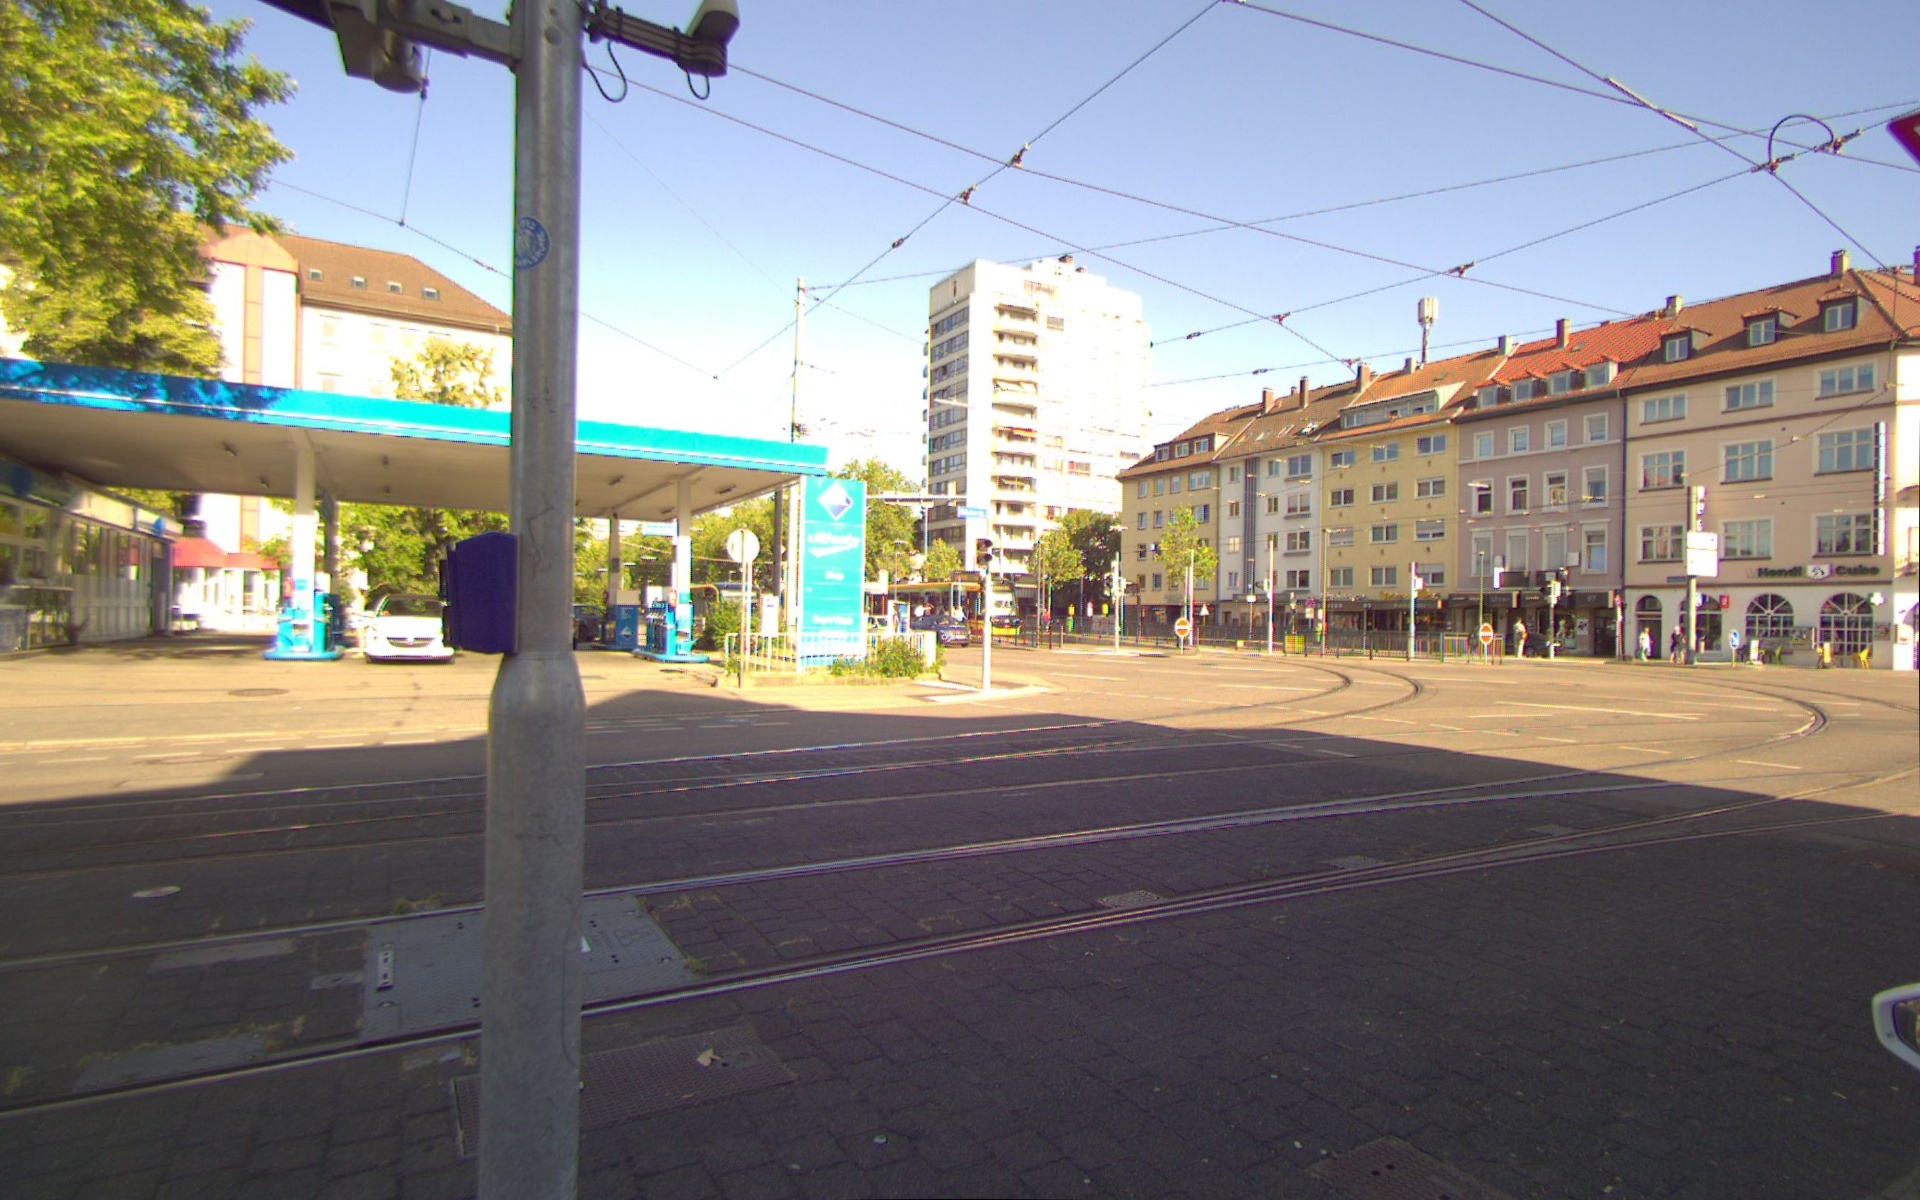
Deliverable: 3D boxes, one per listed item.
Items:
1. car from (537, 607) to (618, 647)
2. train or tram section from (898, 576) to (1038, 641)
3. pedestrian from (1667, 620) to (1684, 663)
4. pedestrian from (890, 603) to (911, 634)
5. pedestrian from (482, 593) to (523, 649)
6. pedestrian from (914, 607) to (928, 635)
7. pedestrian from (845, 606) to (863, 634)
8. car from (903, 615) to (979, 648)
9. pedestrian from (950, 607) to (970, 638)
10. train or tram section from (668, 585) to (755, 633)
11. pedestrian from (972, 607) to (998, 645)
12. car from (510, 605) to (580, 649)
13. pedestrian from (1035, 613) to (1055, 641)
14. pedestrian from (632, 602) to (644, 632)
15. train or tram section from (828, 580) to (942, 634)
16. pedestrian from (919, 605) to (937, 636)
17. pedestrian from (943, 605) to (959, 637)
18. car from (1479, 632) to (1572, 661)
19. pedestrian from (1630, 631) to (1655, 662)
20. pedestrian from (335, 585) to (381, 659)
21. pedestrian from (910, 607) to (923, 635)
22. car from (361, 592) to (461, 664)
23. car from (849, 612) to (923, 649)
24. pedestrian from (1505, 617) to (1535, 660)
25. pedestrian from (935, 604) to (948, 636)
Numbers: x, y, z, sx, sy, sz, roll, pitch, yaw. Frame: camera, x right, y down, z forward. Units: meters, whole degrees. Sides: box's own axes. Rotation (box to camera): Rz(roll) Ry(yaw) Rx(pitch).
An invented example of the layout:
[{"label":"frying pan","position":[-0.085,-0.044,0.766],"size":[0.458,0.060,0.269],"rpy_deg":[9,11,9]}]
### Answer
[{"label":"car","position":[-17.202,1.213,45.383],"size":[1.960,1.685,4.001],"rpy_deg":[1,-1,2]},{"label":"train or tram section","position":[0.231,0.517,58.964],"size":[3.252,3.459,10.157],"rpy_deg":[1,-1,-33]},{"label":"pedestrian","position":[34.212,1.981,48.022],"size":[0.498,2.040,0.507],"rpy_deg":[1,-1,-27]},{"label":"pedestrian","position":[-3.528,1.092,59.526],"size":[0.902,1.826,0.887],"rpy_deg":[1,-1,-33]},{"label":"pedestrian","position":[-15.364,0.696,33.738],"size":[0.896,1.826,0.893],"rpy_deg":[0,-1,34]},{"label":"pedestrian","position":[-2.288,1.223,59.299],"size":[0.507,1.646,0.666],"rpy_deg":[0,-1,33]},{"label":"pedestrian","position":[-6.909,1.312,65.512],"size":[0.902,1.826,0.887],"rpy_deg":[1,-1,-33]},{"label":"car","position":[-0.957,1.492,48.349],"size":[1.937,1.475,4.077],"rpy_deg":[1,0,-30]},{"label":"pedestrian","position":[-0.014,1.200,53.189],"size":[0.791,1.646,0.706],"rpy_deg":[1,-1,-33]},{"label":"train or tram section","position":[-15.030,0.452,60.039],"size":[2.233,2.627,10.398],"rpy_deg":[2,0,-30]},{"label":"pedestrian","position":[1.196,1.256,48.468],"size":[0.902,1.826,0.887],"rpy_deg":[1,-1,-33]},{"label":"car","position":[-13.500,0.865,32.578],"size":[1.752,1.332,3.520],"rpy_deg":[1,-1,-28]},{"label":"pedestrian","position":[6.209,1.942,73.076],"size":[0.942,2.040,1.214],"rpy_deg":[1,-1,-25]},{"label":"pedestrian","position":[-22.135,1.135,68.994],"size":[0.675,2.040,0.856],"rpy_deg":[1,-1,-14]},{"label":"train or tram section","position":[-5.250,0.521,67.582],"size":[3.252,3.335,10.157],"rpy_deg":[1,-1,-33]},{"label":"pedestrian","position":[-1.797,1.161,56.225],"size":[0.773,1.721,0.692],"rpy_deg":[1,-1,-33]},{"label":"pedestrian","position":[-0.490,1.117,54.518],"size":[0.549,1.721,0.740],"rpy_deg":[1,-1,-33]},{"label":"car","position":[30.776,2.494,54.716],"size":[1.980,1.483,3.962],"rpy_deg":[1,-1,-34]},{"label":"pedestrian","position":[35.338,2.395,51.994],"size":[0.849,1.547,0.786],"rpy_deg":[1,-1,-29]},{"label":"pedestrian","position":[-13.838,0.507,23.122],"size":[0.801,1.652,0.643],"rpy_deg":[1,-1,-24]},{"label":"pedestrian","position":[-2.566,1.216,59.545],"size":[0.500,1.646,0.605],"rpy_deg":[0,-1,35]},{"label":"car","position":[-12.270,0.608,22.433],"size":[1.773,1.461,3.968],"rpy_deg":[2,-1,-30]},{"label":"car","position":[-3.505,1.394,46.807],"size":[1.976,1.615,3.970],"rpy_deg":[1,-1,-29]},{"label":"pedestrian","position":[24.497,1.693,43.956],"size":[0.801,1.842,0.871],"rpy_deg":[1,-1,-29]},{"label":"pedestrian","position":[-1.017,1.106,55.350],"size":[0.491,1.721,0.553],"rpy_deg":[1,-1,-33]}]
